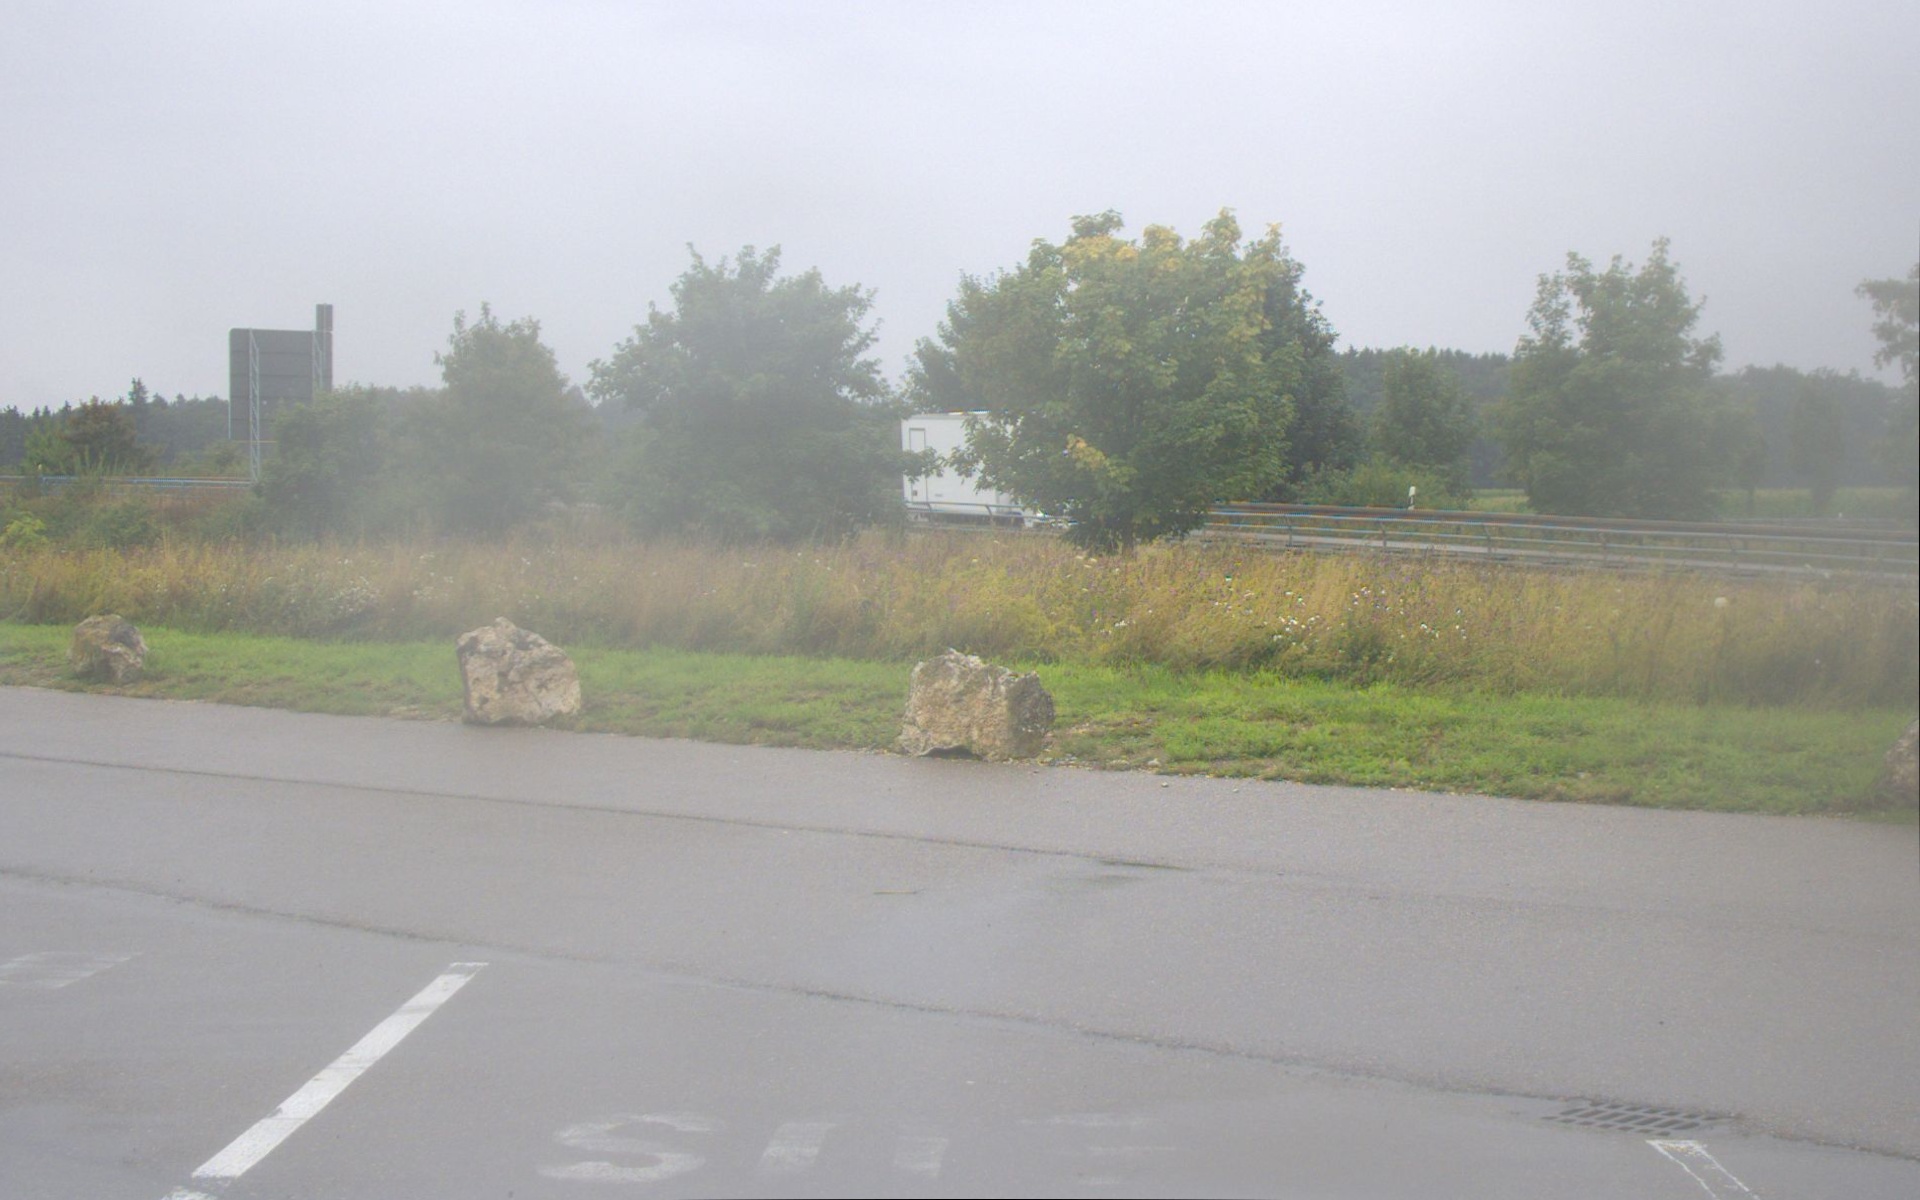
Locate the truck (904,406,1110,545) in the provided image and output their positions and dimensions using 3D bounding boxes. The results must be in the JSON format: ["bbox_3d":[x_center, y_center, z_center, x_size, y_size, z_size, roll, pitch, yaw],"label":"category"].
[{"bbox_3d":[1.103,-3.181,88.757,2.738,3.379,8.070,0,2,-19],"label":"truck"}]
